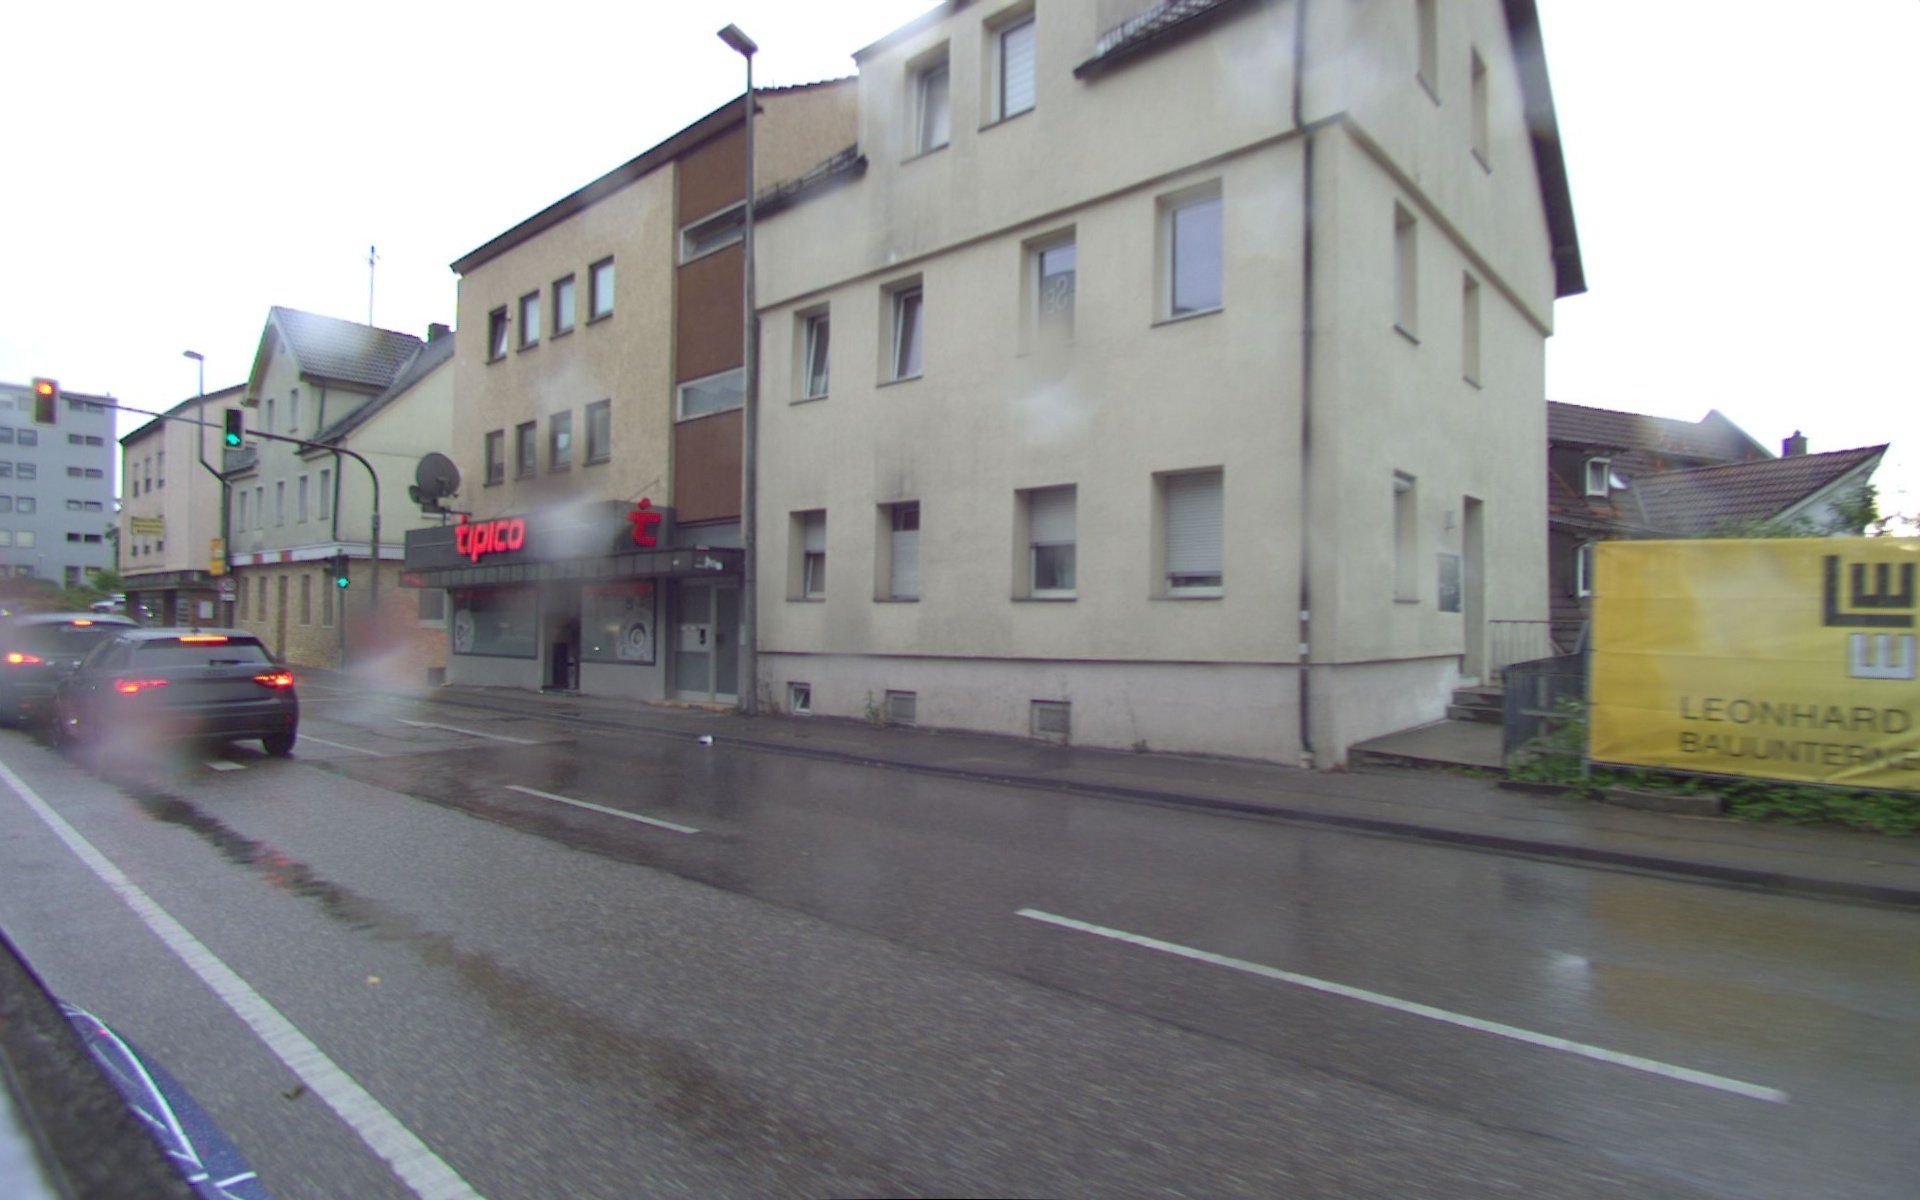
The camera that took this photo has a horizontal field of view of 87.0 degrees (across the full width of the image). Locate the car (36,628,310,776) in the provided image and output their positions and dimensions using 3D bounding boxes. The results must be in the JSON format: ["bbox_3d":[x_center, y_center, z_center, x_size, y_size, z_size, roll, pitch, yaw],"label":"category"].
[{"bbox_3d":[-8.998,1.027,11.488,3.666,1.394,1.690,-2,-2,39],"label":"car"}]

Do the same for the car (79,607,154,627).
[{"bbox_3d":[-62.800,1.277,75.434,1.675,1.472,3.972,-1,-2,21],"label":"car"}]

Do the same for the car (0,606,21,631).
[{"bbox_3d":[-57.266,1.102,59.977,1.659,1.472,4.011,1,-2,-32],"label":"car"}]

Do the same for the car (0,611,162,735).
[{"bbox_3d":[-13.938,1.052,15.601,4.273,1.657,1.797,-2,-2,41],"label":"car"}]

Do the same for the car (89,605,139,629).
[{"bbox_3d":[-58.096,1.123,69.574,1.929,1.547,4.012,0,0,-29],"label":"car"}]
